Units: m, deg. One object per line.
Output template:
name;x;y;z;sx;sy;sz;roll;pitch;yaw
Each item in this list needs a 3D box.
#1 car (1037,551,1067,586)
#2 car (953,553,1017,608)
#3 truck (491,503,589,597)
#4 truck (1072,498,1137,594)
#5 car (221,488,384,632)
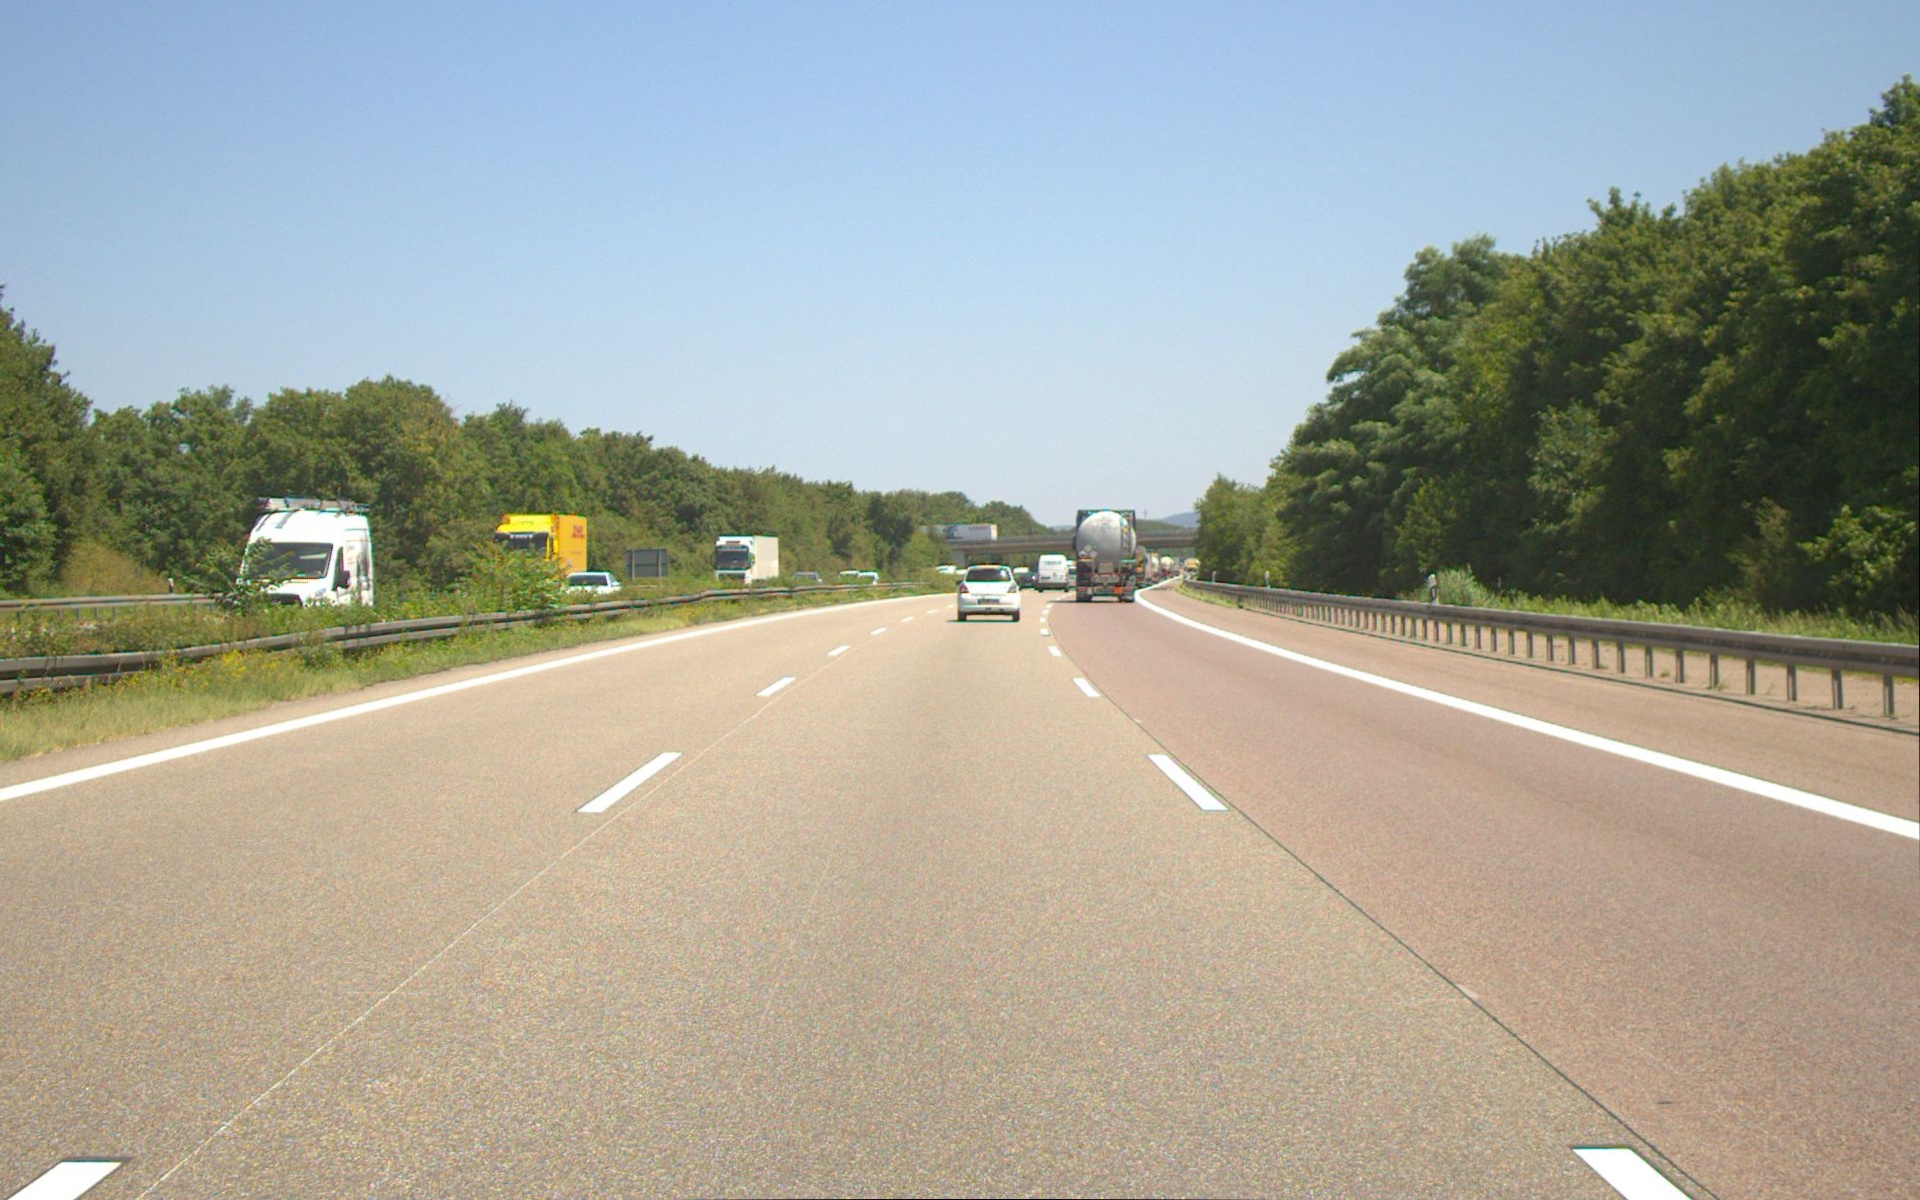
car;6.212;-2.132;232.644;1.993;2.335;4.387;0;1;2
car;0.703;-0.530;94.267;1.627;1.474;4.000;0;0;2
truck;-18.556;-2.150;152.470;2.750;4.026;10.792;0;0;1
truck;6.359;-2.315;150.493;2.739;4.038;10.453;0;0;3
car;-13.107;-0.804;68.911;2.088;2.769;5.829;0;1;1
